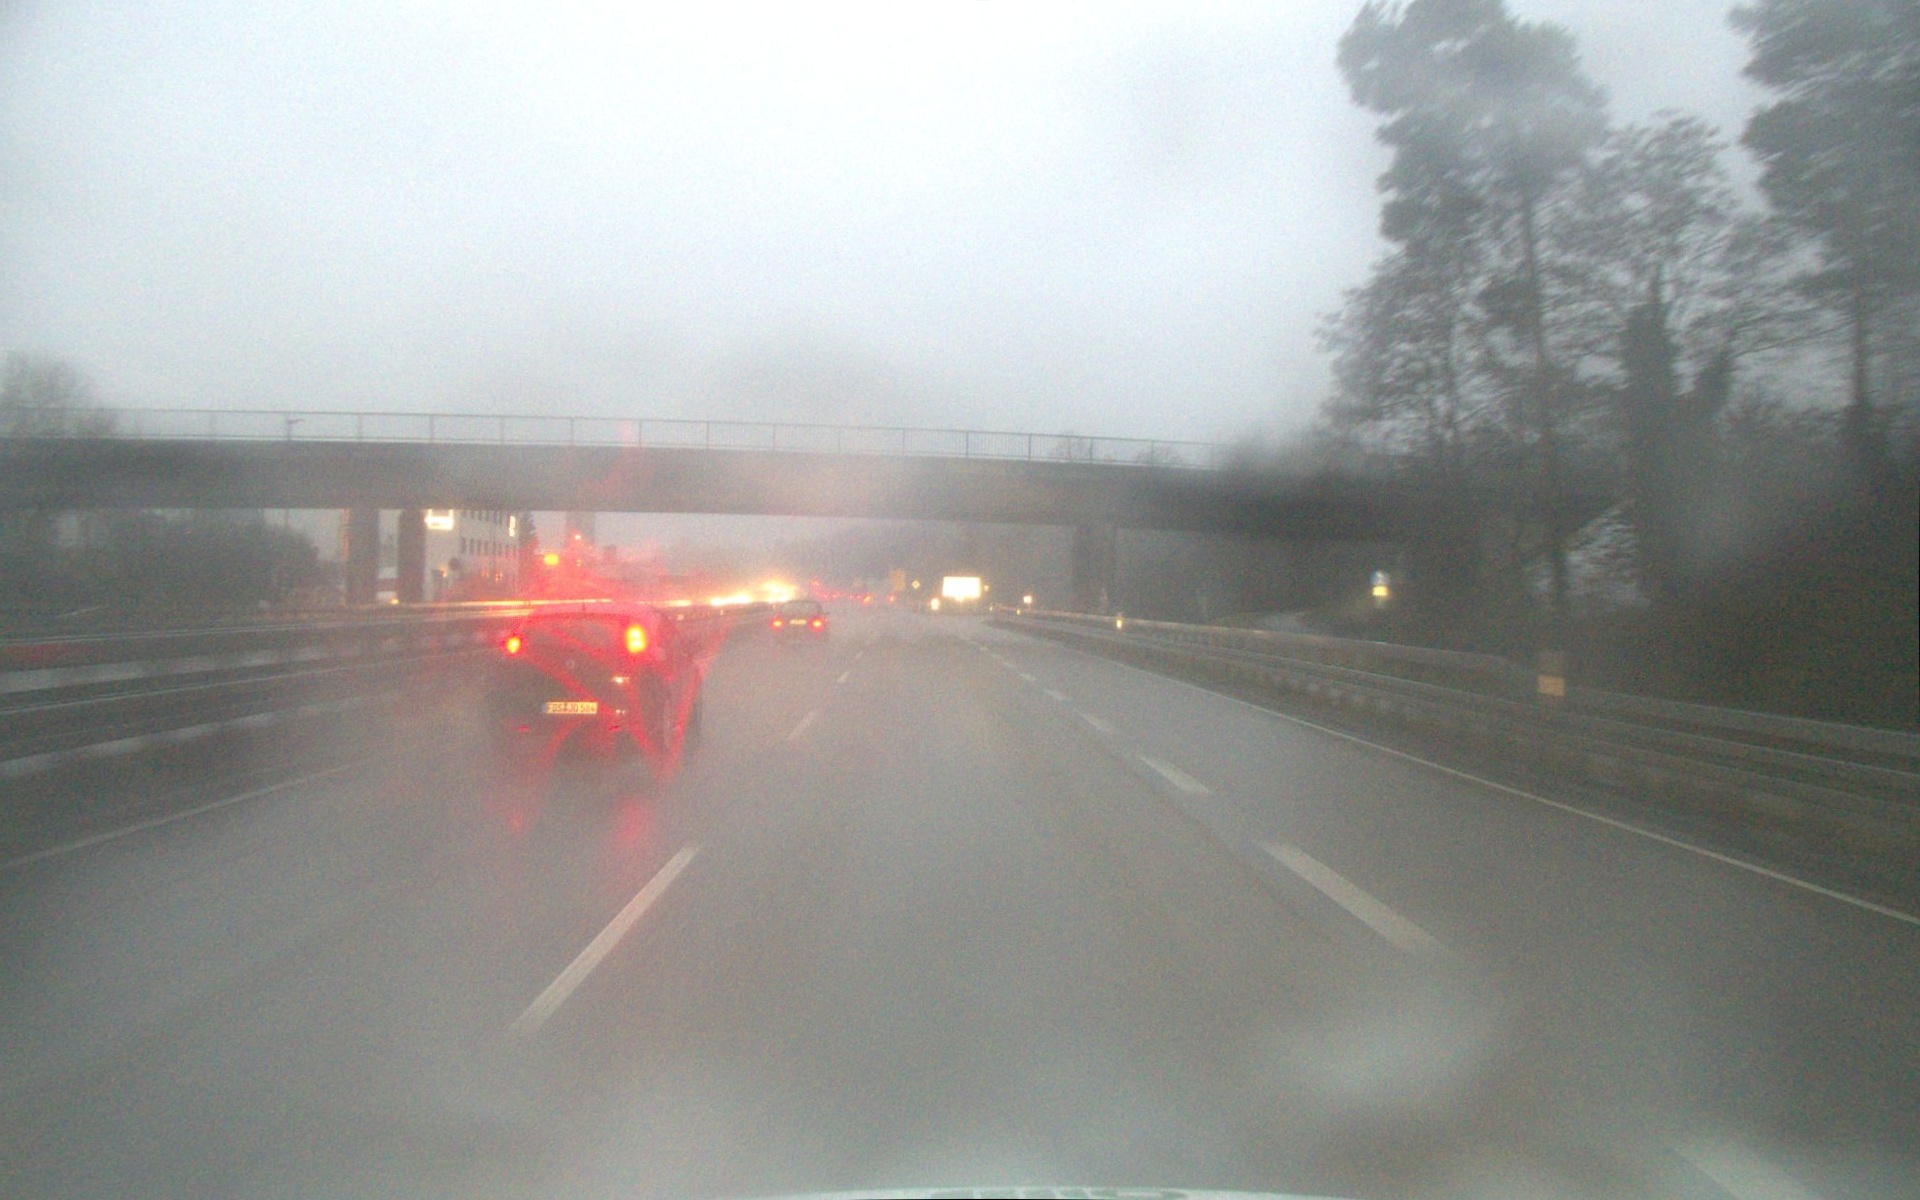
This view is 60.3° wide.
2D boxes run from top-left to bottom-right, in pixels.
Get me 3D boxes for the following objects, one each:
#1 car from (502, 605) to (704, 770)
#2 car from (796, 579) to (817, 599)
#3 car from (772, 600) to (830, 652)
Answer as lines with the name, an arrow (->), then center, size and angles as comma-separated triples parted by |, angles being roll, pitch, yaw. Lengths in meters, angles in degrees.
car -> -3.657, 0.838, 17.459 | 1.497, 1.440, 3.477 | 3, 0, -3
car -> -18.176, -1.316, 195.599 | 2.084, 2.157, 3.567 | 3, 0, -10
car -> -5.096, 0.806, 53.356 | 1.741, 1.561, 4.698 | 1, 0, -4
